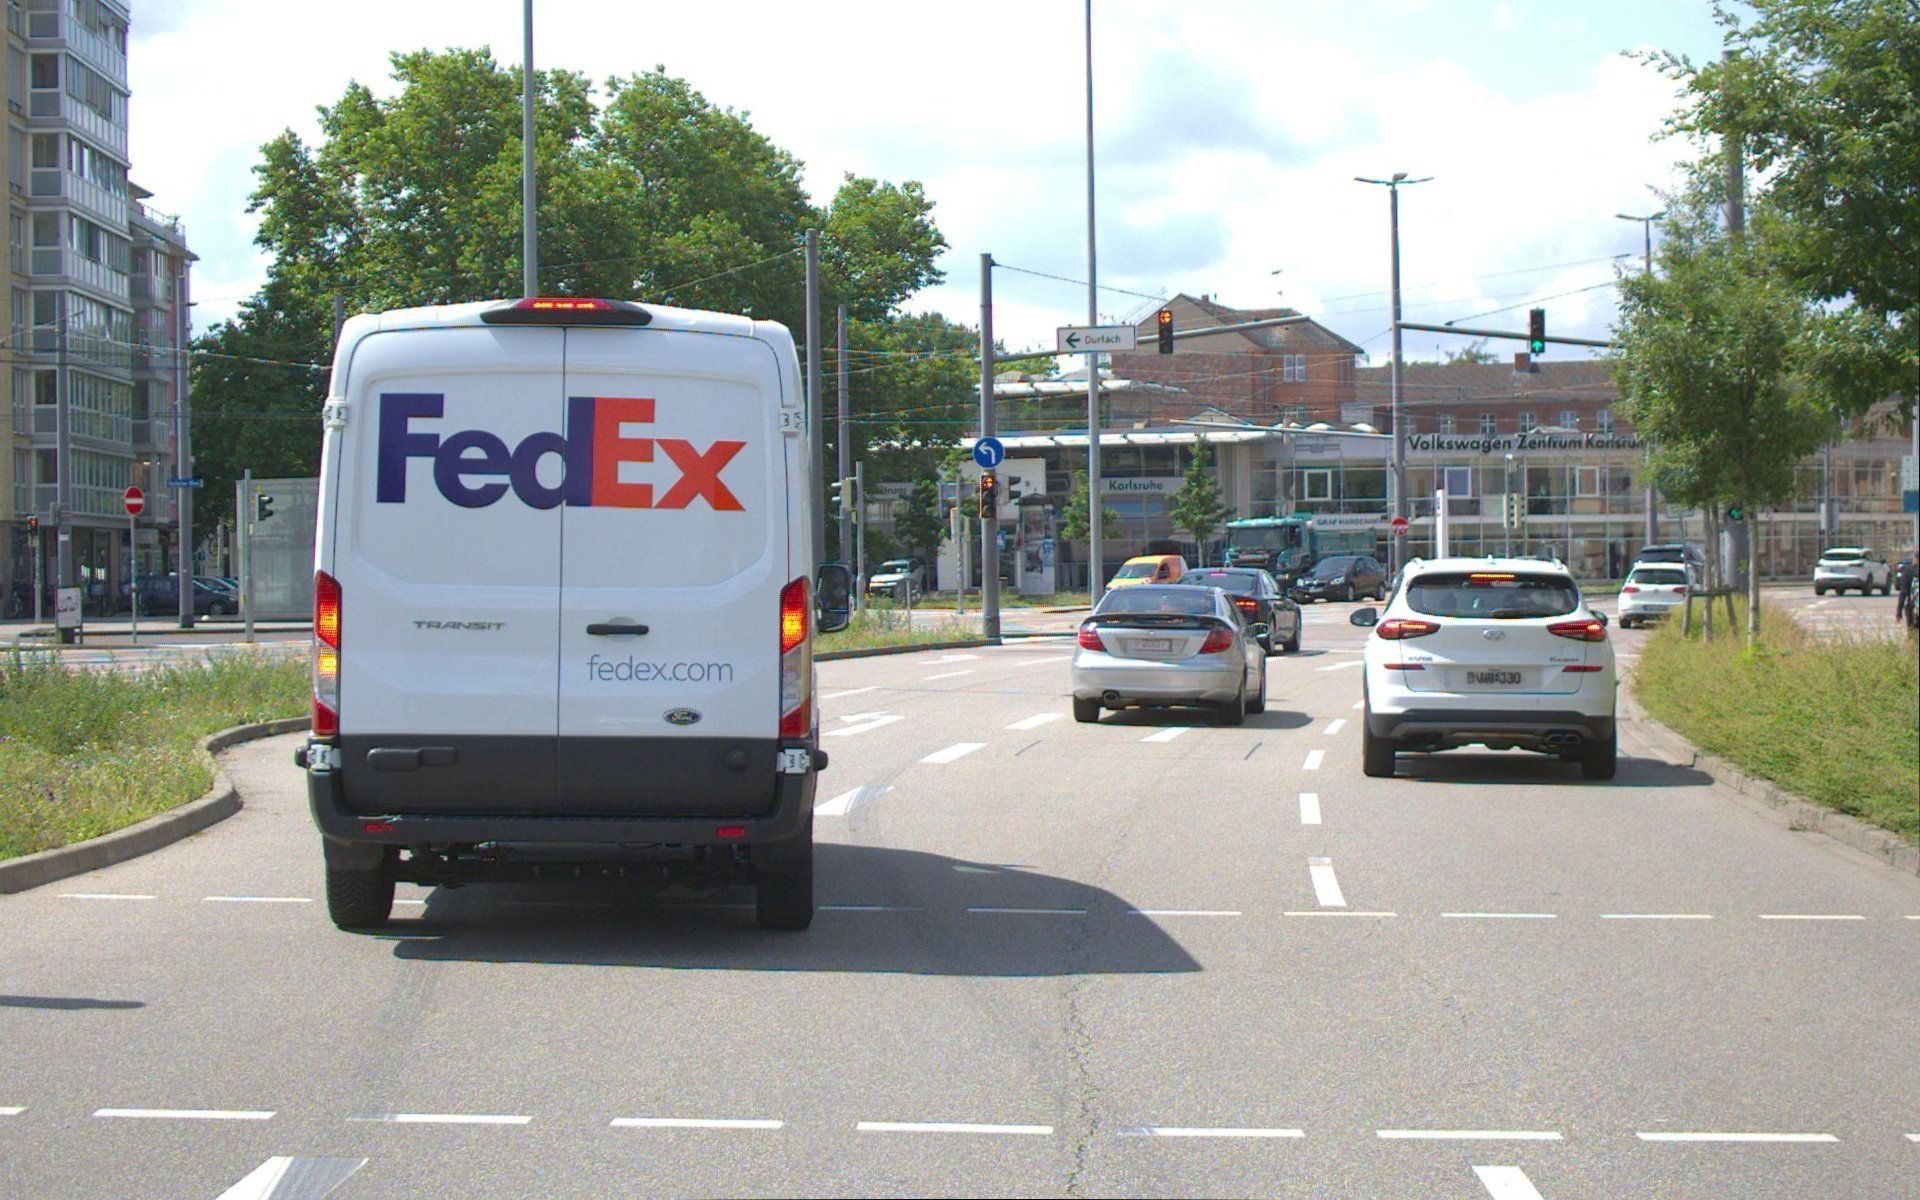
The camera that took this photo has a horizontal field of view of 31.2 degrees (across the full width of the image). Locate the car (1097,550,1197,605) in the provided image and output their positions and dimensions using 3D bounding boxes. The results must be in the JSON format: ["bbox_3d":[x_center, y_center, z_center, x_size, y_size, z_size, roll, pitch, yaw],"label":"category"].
[{"bbox_3d":[6.532,-0.803,119.565,1.720,1.794,4.734,-1,1,26],"label":"car"}]

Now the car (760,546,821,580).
[{"bbox_3d":[-8.064,-1.740,164.226,1.994,1.568,4.176,0,0,10],"label":"car"}]

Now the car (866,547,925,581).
[{"bbox_3d":[-3.046,-1.698,162.935,1.994,1.568,4.176,0,0,10],"label":"car"}]

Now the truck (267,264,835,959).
[{"bbox_3d":[-1.665,0.024,16.040,2.137,2.631,5.918,0,0,-2],"label":"truck"}]

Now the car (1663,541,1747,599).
[{"bbox_3d":[21.752,-0.883,100.237,1.883,1.636,3.953,0,1,20],"label":"car"}]

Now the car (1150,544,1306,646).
[{"bbox_3d":[4.613,-0.119,58.605,1.929,1.636,4.790,0,1,13],"label":"car"}]

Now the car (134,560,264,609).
[{"bbox_3d":[-26.403,-0.535,119.382,4.103,1.659,1.869,0,0,-2],"label":"car"}]

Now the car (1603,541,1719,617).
[{"bbox_3d":[15.808,-0.497,77.451,1.883,1.636,3.953,0,1,22],"label":"car"}]

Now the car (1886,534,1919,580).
[{"bbox_3d":[35.591,-1.603,127.344,1.883,1.636,3.952,0,1,24],"label":"car"}]

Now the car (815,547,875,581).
[{"bbox_3d":[-5.447,-1.718,163.704,1.994,1.568,4.176,0,0,10],"label":"car"}]

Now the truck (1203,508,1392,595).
[{"bbox_3d":[11.660,-1.697,118.008,2.890,2.842,8.777,0,1,32],"label":"truck"}]

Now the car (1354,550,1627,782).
[{"bbox_3d":[4.055,0.447,26.836,1.881,1.636,4.232,-1,1,6],"label":"car"}]

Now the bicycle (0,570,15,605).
[{"bbox_3d":[-31.985,-0.413,113.238,2.133,1.143,0.510,0,0,40],"label":"bicycle"}]

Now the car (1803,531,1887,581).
[{"bbox_3d":[30.185,-1.502,117.179,1.884,1.636,3.951,0,1,28],"label":"car"}]

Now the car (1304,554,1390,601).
[{"bbox_3d":[12.762,-0.755,113.280,1.655,1.464,4.149,0,1,23],"label":"car"}]

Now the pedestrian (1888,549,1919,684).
[{"bbox_3d":[11.412,0.192,40.729,0.756,1.584,0.761,0,0,12],"label":"pedestrian"}]

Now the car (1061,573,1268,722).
[{"bbox_3d":[2.170,0.449,35.505,1.742,1.387,4.178,0,1,9],"label":"car"}]

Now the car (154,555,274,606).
[{"bbox_3d":[-27.936,-0.718,128.745,4.097,1.852,1.984,0,0,-2],"label":"car"}]
